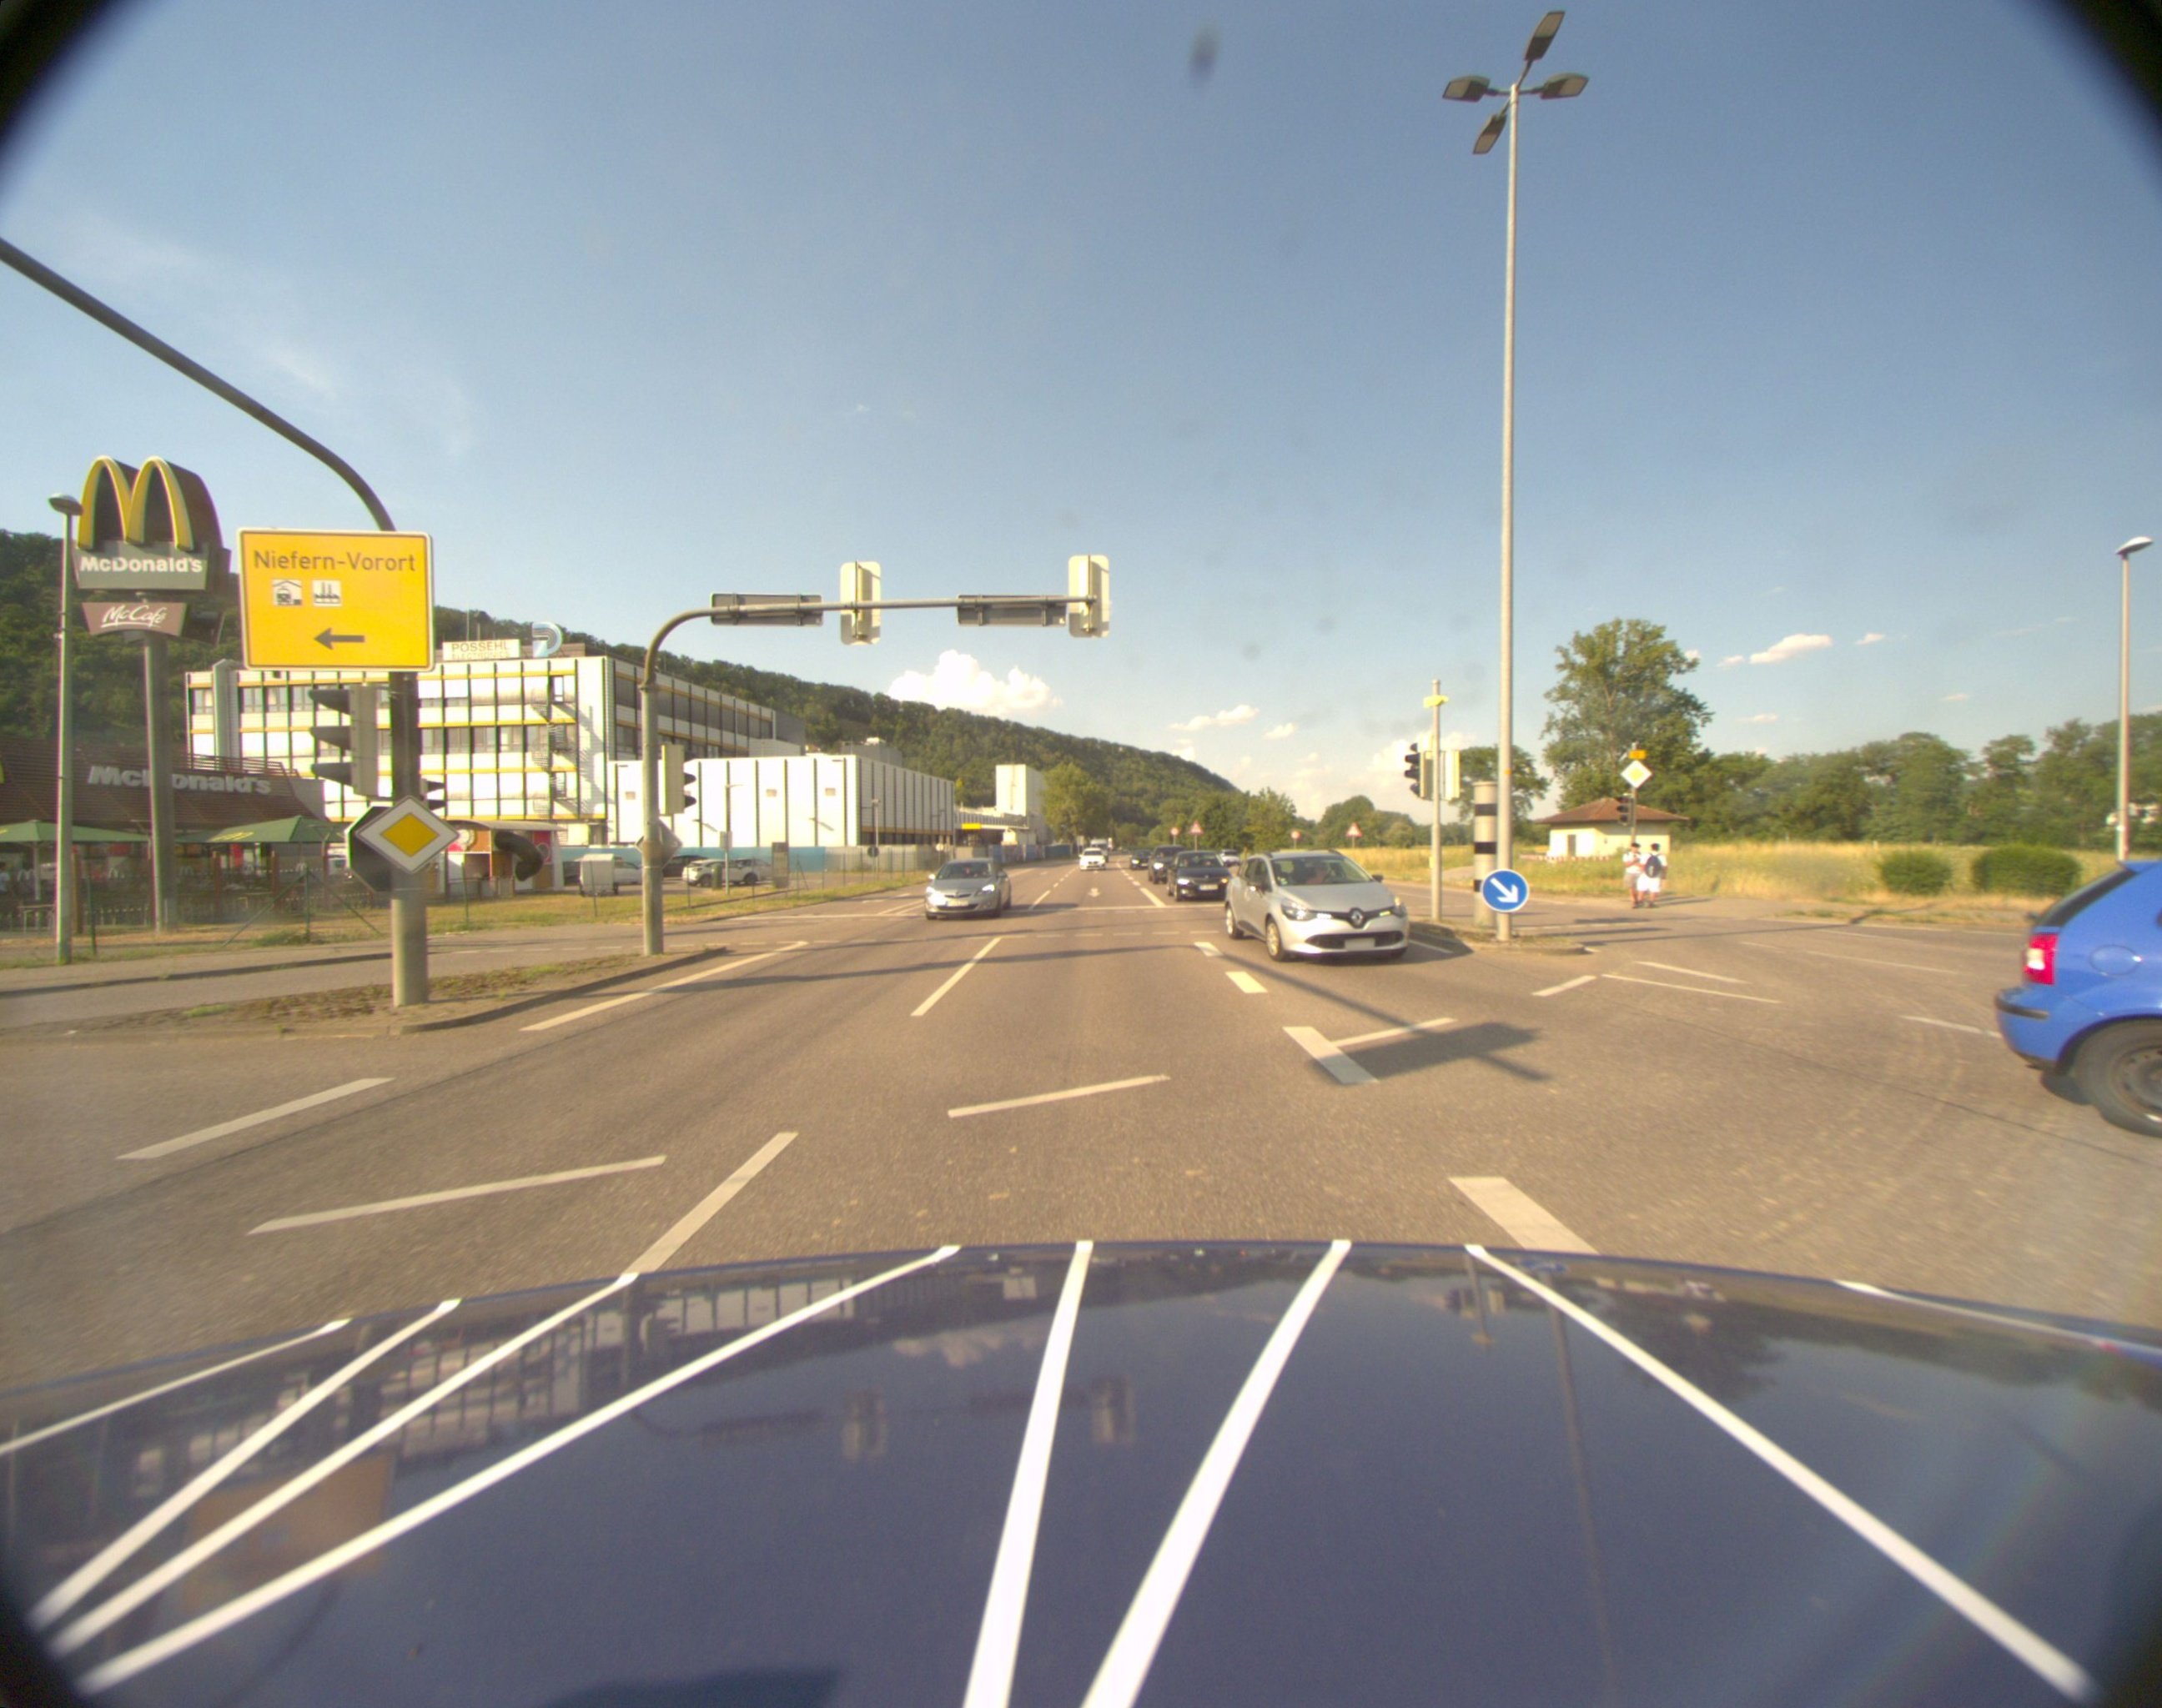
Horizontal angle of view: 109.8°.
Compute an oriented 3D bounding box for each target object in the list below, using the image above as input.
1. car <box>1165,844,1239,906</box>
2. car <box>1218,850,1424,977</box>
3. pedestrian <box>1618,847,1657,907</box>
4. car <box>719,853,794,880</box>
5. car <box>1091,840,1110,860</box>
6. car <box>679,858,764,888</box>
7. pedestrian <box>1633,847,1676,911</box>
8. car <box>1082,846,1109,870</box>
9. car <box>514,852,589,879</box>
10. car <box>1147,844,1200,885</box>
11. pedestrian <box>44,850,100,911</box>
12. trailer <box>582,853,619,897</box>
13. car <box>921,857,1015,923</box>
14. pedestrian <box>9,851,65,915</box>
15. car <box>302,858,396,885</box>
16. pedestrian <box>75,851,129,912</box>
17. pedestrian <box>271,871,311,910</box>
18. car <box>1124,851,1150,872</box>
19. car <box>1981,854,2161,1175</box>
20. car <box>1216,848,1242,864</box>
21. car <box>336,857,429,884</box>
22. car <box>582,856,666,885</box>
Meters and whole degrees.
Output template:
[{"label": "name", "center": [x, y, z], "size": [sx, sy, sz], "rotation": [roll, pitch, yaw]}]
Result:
[{"label": "car", "center": [3.490, 0.540, 22.518], "size": [1.617, 1.565, 3.999], "rotation": [-2, 1, 2]}, {"label": "car", "center": [3.266, 0.708, 11.225], "size": [1.761, 1.468, 4.189], "rotation": [-2, 1, 1]}, {"label": "pedestrian", "center": [15.164, 0.615, 20.721], "size": [0.655, 1.597, 0.838], "rotation": [-2, 2, 22]}, {"label": "car", "center": [-20.635, 0.795, 48.483], "size": [1.872, 1.496, 3.914], "rotation": [-2, 1, 34]}, {"label": "car", "center": [2.122, -0.472, 84.082], "size": [1.795, 2.155, 4.588], "rotation": [-1, 1, -1]}, {"label": "car", "center": [-20.720, 1.073, 43.904], "size": [1.872, 1.496, 3.914], "rotation": [-1, 2, 37]}, {"label": "pedestrian", "center": [14.807, 0.629, 19.631], "size": [0.655, 1.597, 0.891], "rotation": [-2, 2, 22]}, {"label": "car", "center": [1.095, 0.256, 55.795], "size": [1.825, 1.551, 3.999], "rotation": [-2, 1, 2]}, {"label": "car", "center": [-33.143, 0.697, 47.641], "size": [1.693, 1.447, 3.434], "rotation": [-2, 1, 33]}, {"label": "car", "center": [4.000, 0.413, 33.516], "size": [1.858, 1.565, 4.144], "rotation": [-2, 1, 2]}, {"label": "pedestrian", "center": [-34.200, 0.887, 25.770], "size": [0.735, 2.002, 0.763], "rotation": [-2, 2, 5]}, {"label": "trailer", "center": [-22.446, 0.947, 35.552], "size": [1.351, 1.936, 3.472], "rotation": [0, 0, -31]}, {"label": "car", "center": [-2.780, 0.838, 19.457], "size": [1.690, 1.383, 3.883], "rotation": [-1, 1, 2]}, {"label": "pedestrian", "center": [-34.022, 0.933, 24.775], "size": [0.737, 2.002, 0.761], "rotation": [-3, 2, -30]}, {"label": "car", "center": [-43.686, 1.016, 45.407], "size": [1.791, 1.407, 3.677], "rotation": [-2, 1, 33]}, {"label": "pedestrian", "center": [-33.385, 0.927, 25.923], "size": [0.735, 2.002, 0.763], "rotation": [-2, 2, 5]}, {"label": "pedestrian", "center": [-27.763, 1.272, 26.707], "size": [0.673, 1.329, 0.597], "rotation": [-3, 2, -3]}, {"label": "car", "center": [3.815, 0.466, 51.084], "size": [1.642, 1.285, 3.885], "rotation": [0, 1, 6]}, {"label": "car", "center": [6.494, 0.773, 2.759], "size": [1.695, 1.491, 3.883], "rotation": [-1, 1, -29]}, {"label": "car", "center": [13.514, 0.166, 69.583], "size": [1.712, 1.426, 4.144], "rotation": [1, 1, 2]}, {"label": "car", "center": [-41.363, 0.951, 45.054], "size": [1.791, 1.407, 3.677], "rotation": [-2, 1, 33]}, {"label": "car", "center": [-26.619, 0.966, 44.366], "size": [1.693, 1.447, 3.782], "rotation": [-2, 1, 33]}]
